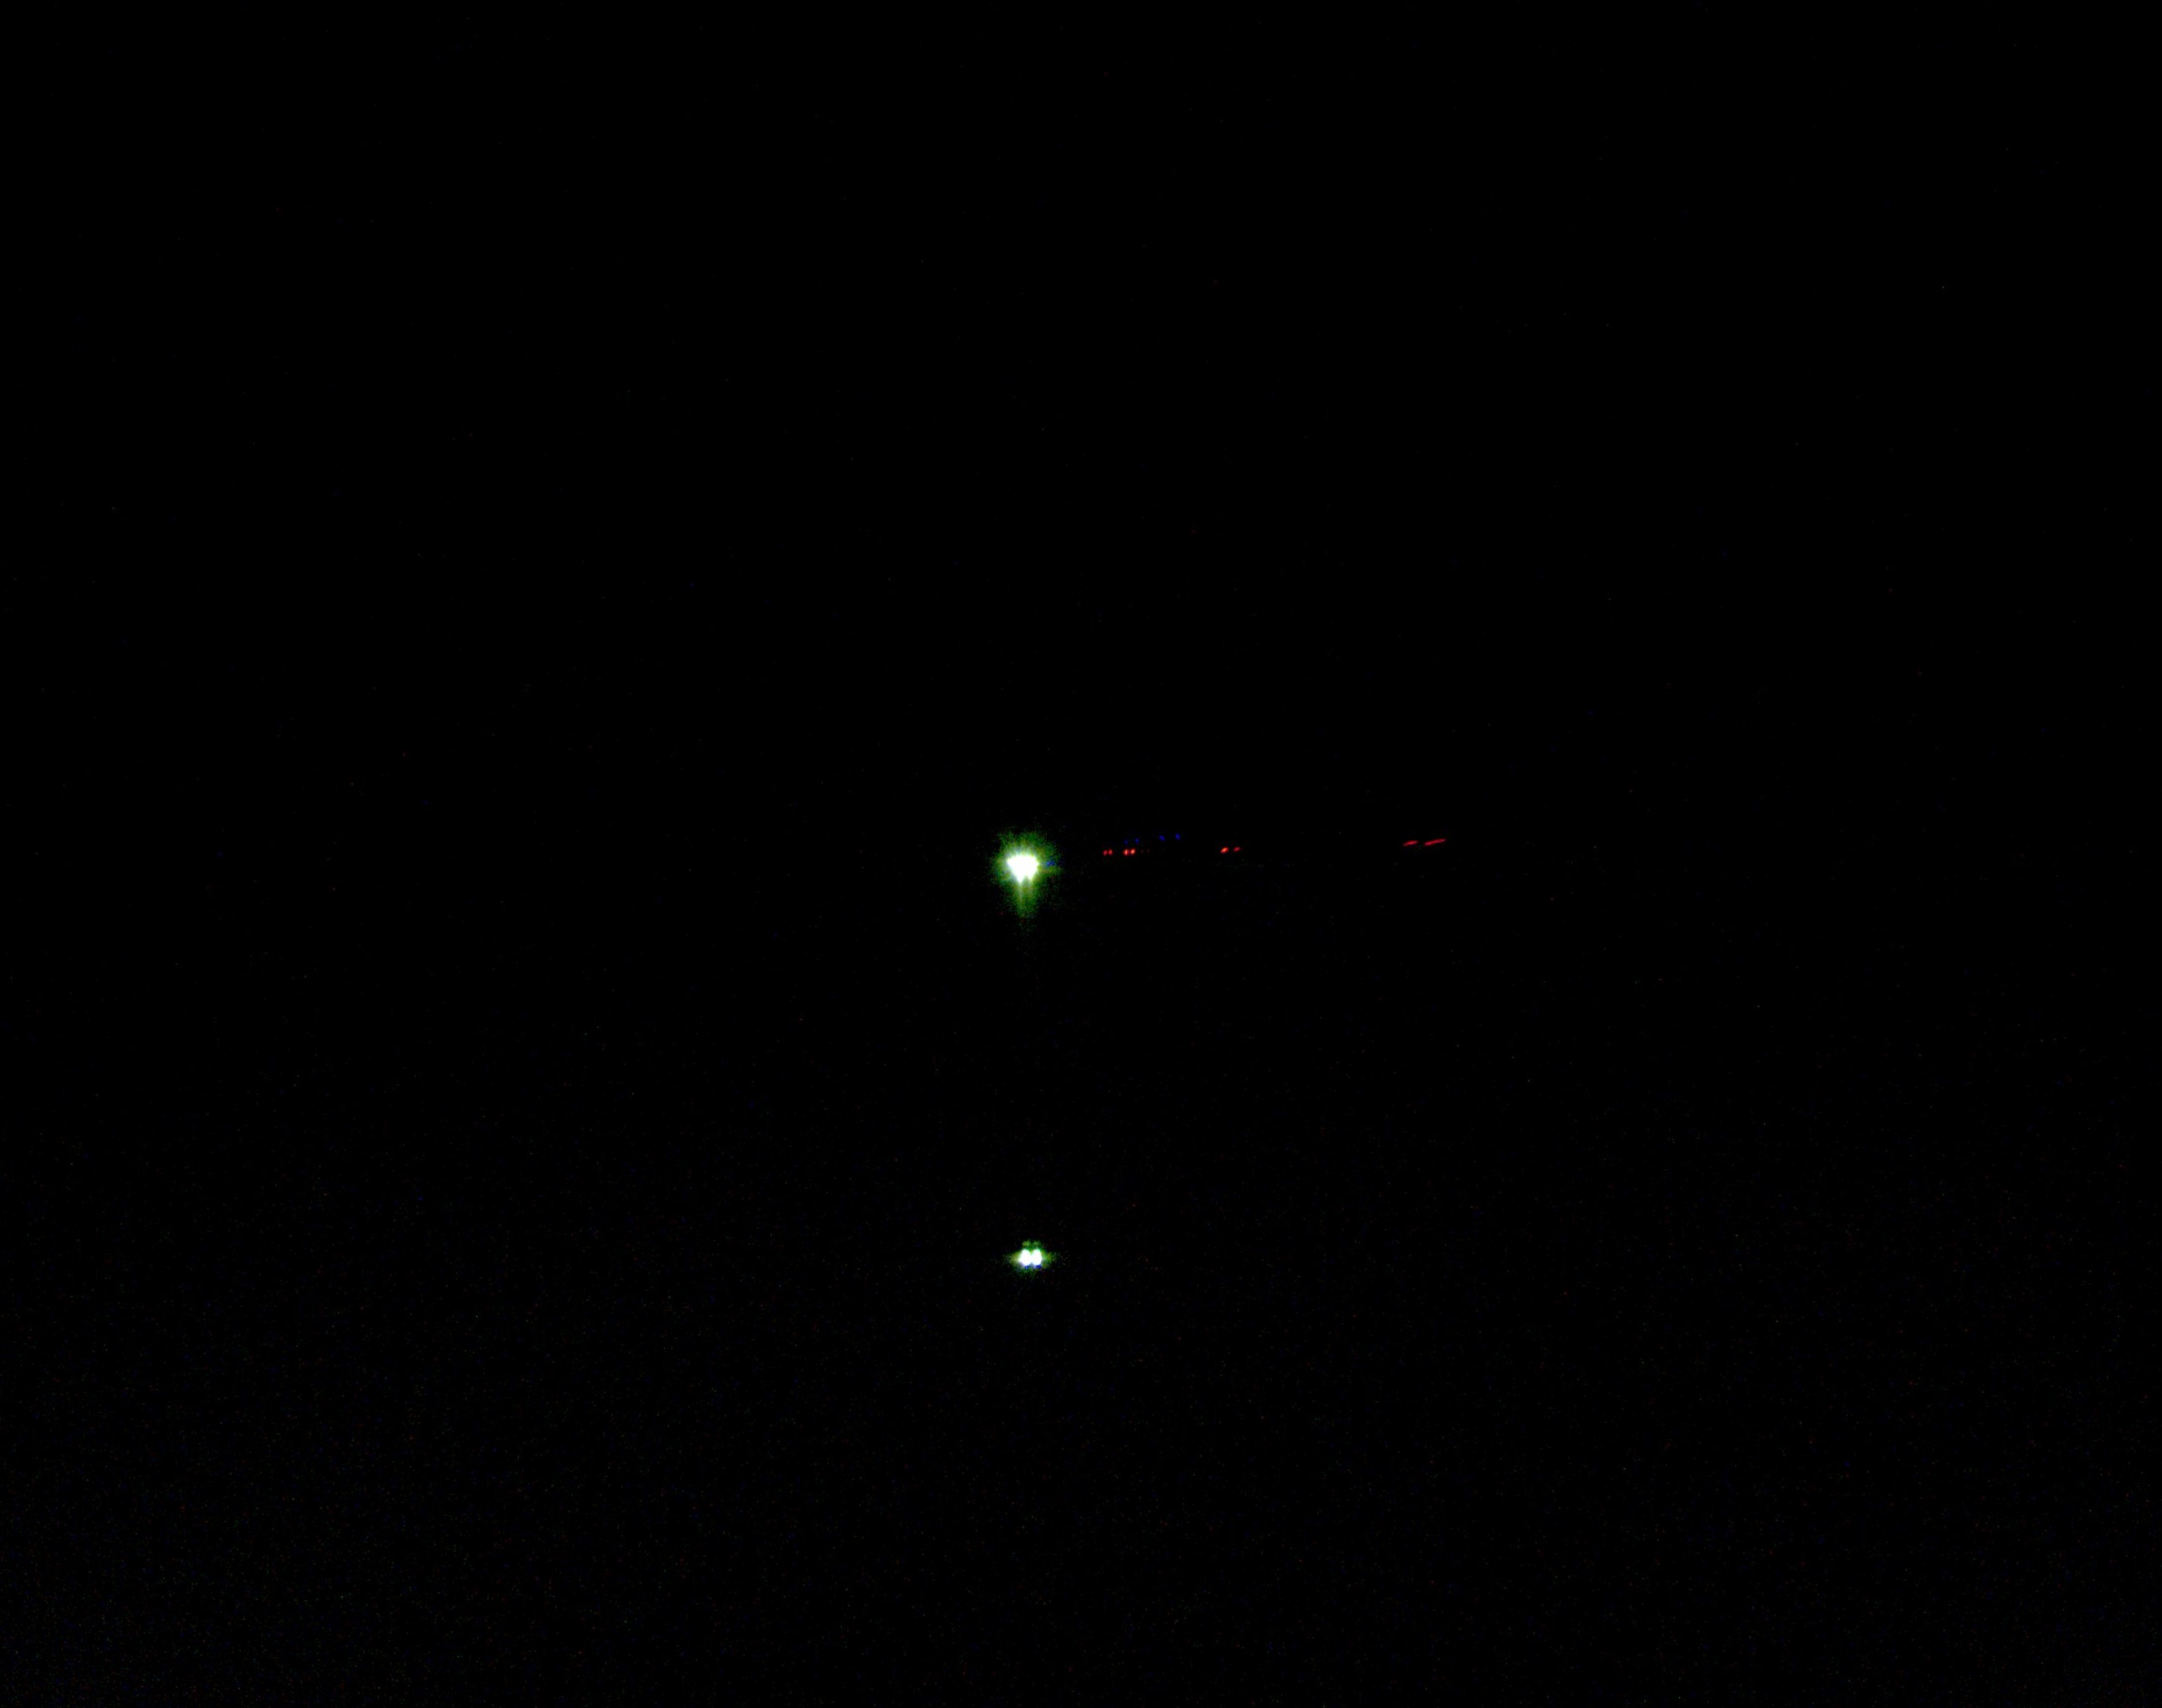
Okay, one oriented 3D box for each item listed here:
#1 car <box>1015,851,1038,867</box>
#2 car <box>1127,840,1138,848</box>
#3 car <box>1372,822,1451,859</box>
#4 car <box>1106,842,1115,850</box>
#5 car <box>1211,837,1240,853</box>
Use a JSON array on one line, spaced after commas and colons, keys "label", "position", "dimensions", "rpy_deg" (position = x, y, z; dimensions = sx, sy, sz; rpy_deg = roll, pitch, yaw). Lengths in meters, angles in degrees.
[{"label": "car", "position": [-7.191, 0.720, 99.552], "dimensions": [2.001, 1.843, 3.994], "rpy_deg": [-7, 1, -18]}, {"label": "car", "position": [10.738, -2.133, 159.561], "dimensions": [1.963, 1.448, 4.335], "rpy_deg": [-4, 0, -1]}, {"label": "car", "position": [15.938, -0.641, 36.829], "dimensions": [1.866, 1.506, 3.999], "rpy_deg": [-7, 1, -2]}, {"label": "car", "position": [7.133, -1.885, 185.067], "dimensions": [1.963, 1.723, 5.078], "rpy_deg": [-4, 0, -1]}, {"label": "car", "position": [14.441, -0.870, 75.956], "dimensions": [1.963, 1.448, 4.335], "rpy_deg": [-4, 0, -1]}]
